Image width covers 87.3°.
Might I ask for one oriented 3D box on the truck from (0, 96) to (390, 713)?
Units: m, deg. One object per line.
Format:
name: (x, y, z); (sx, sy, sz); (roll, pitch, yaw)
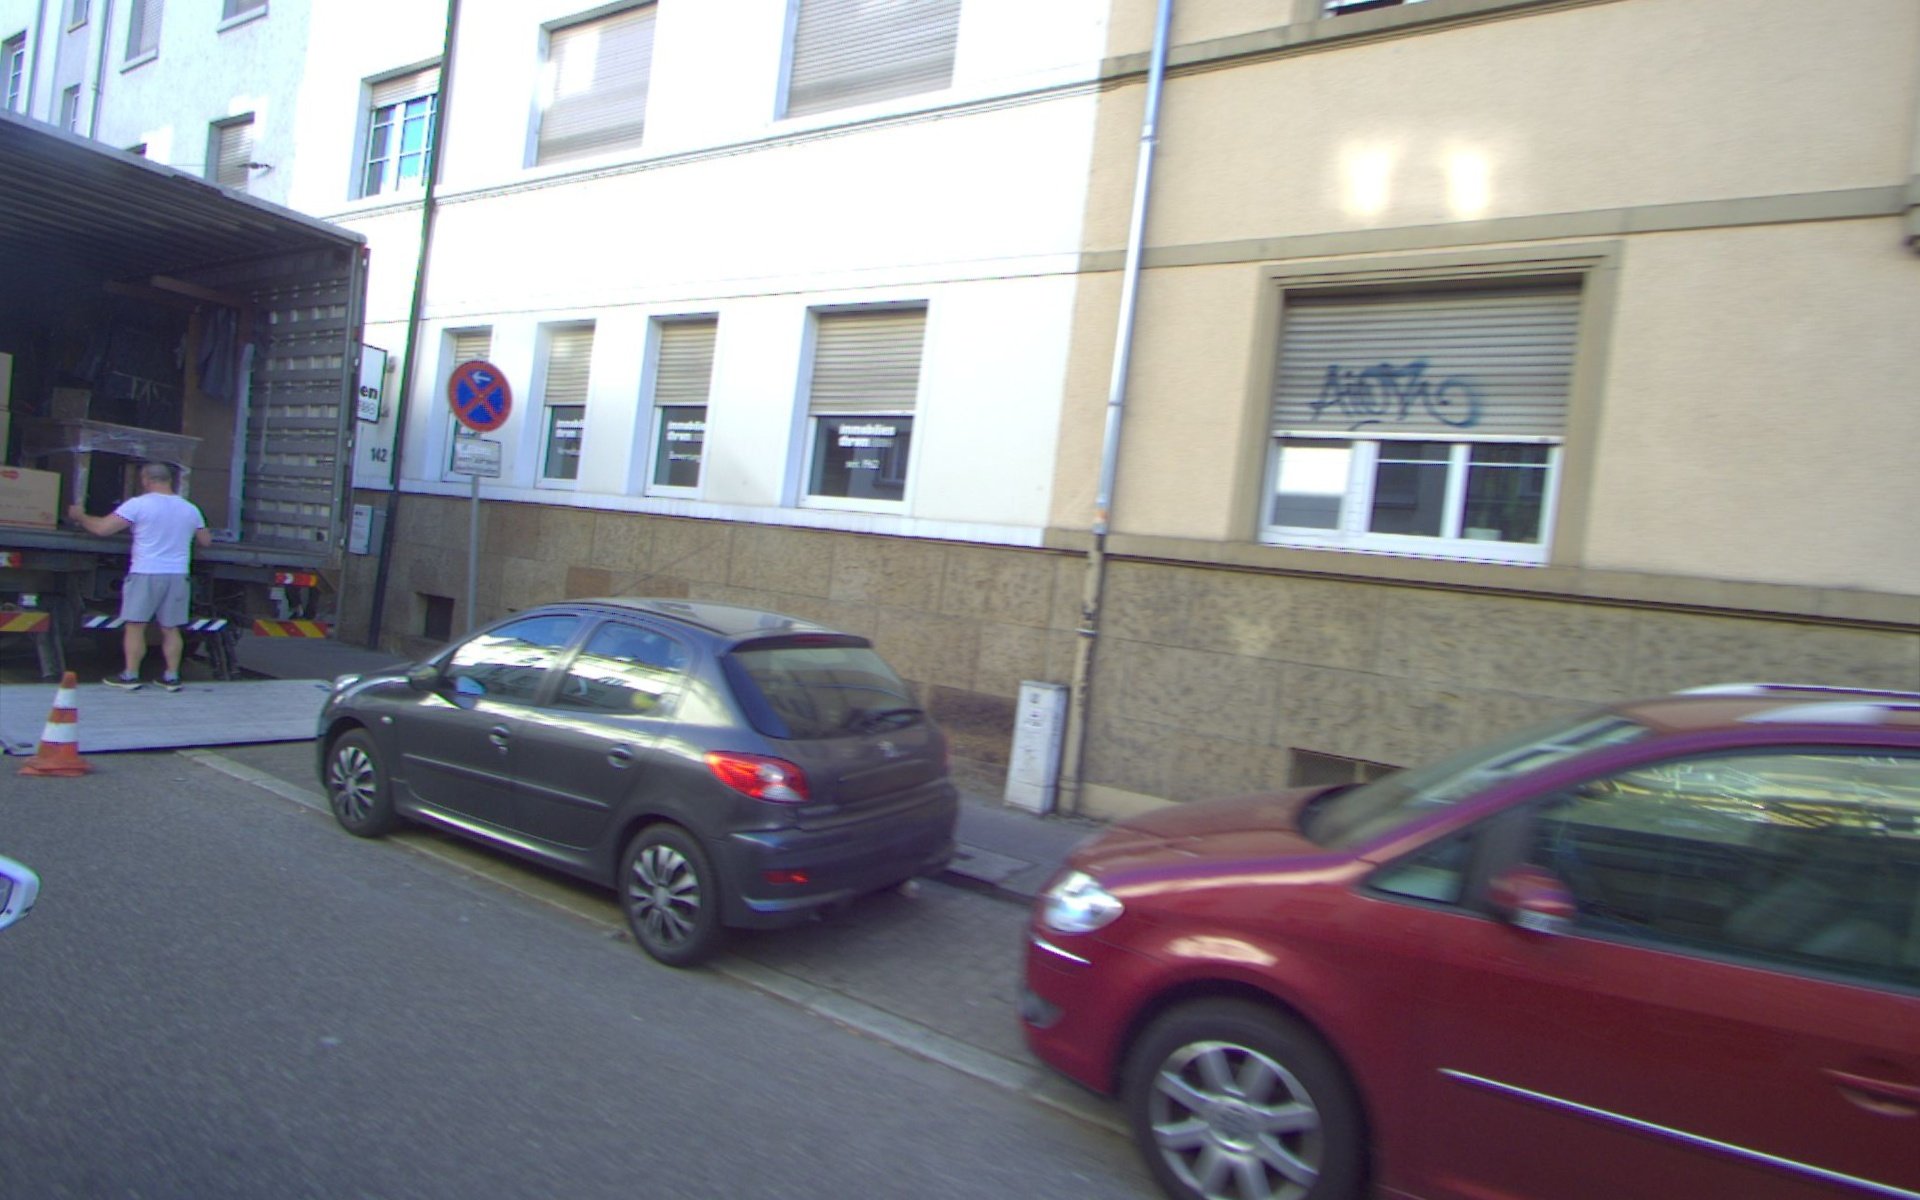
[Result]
truck: (-10.853, -1.772, 10.767); (11.585, 4.123, 2.863); (7, 0, 33)

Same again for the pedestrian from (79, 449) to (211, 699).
pedestrian: (-6.121, -0.181, 7.564); (0.409, 1.797, 0.513); (7, 0, 32)

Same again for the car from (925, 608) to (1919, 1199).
car: (2.172, 1.101, 2.832); (4.173, 1.629, 1.594); (7, 0, 29)

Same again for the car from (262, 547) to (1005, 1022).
car: (-1.873, 0.681, 5.377); (3.816, 1.481, 1.584); (7, 0, 32)
